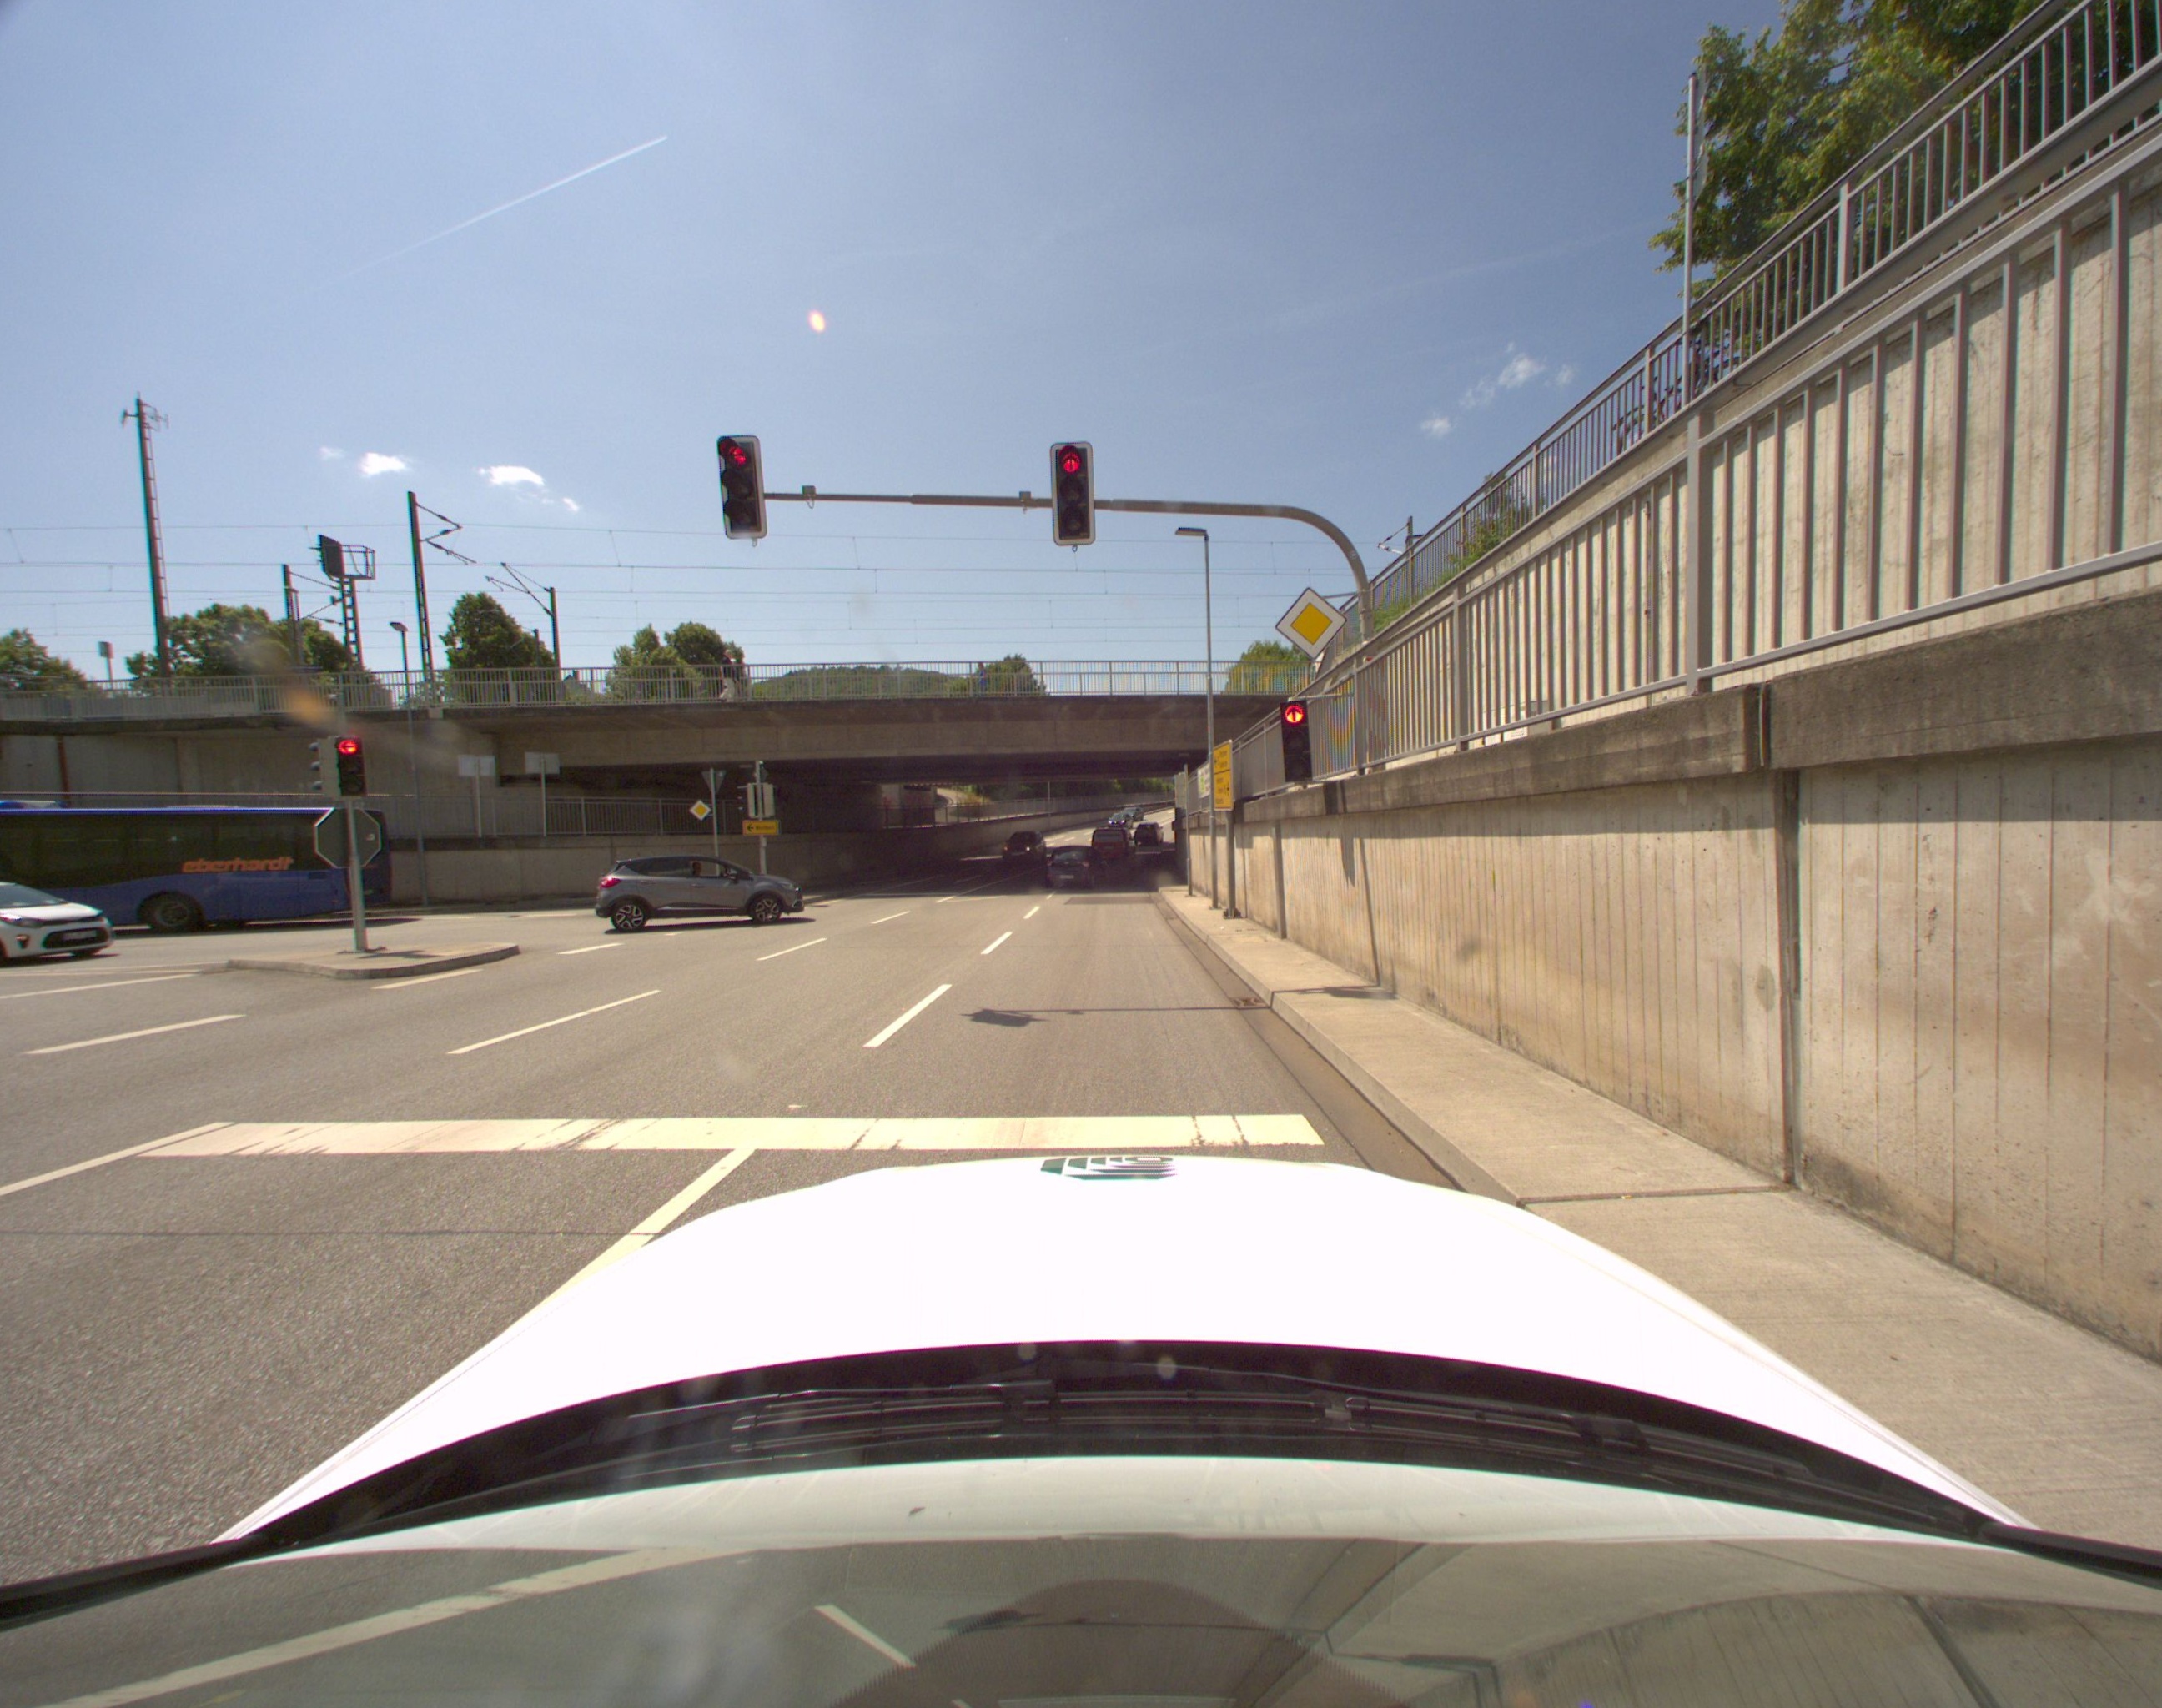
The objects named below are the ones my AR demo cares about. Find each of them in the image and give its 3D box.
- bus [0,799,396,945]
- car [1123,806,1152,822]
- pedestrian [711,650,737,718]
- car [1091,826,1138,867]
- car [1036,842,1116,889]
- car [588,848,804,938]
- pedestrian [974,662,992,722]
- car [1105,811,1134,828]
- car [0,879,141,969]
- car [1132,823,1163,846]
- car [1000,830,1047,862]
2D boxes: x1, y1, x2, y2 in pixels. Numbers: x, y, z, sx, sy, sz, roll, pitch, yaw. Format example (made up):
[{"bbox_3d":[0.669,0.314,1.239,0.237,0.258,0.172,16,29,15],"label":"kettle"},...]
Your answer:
[{"bbox_3d":[-24.553,0.401,19.340,12.376,3.172,2.573,-2,2,-20],"label":"bus"},{"bbox_3d":[5.963,-4.223,85.087,1.977,1.588,4.021,-1,2,20],"label":"car"},{"bbox_3d":[-11.591,-5.516,26.467,0.576,2.081,0.533,-2,0,-9],"label":"pedestrian"},{"bbox_3d":[1.830,-0.448,42.871,1.861,1.932,4.733,-1,2,10],"label":"car"},{"bbox_3d":[-0.087,0.365,29.519,1.980,1.508,4.015,-1,2,13],"label":"car"},{"bbox_3d":[-8.298,0.756,17.833,4.006,1.588,1.984,-2,2,-25],"label":"car"},{"bbox_3d":[-3.565,-5.884,29.683,0.538,2.081,0.534,-2,0,-5],"label":"pedestrian"},{"bbox_3d":[3.594,-3.189,75.239,1.768,1.436,4.018,-1,2,16],"label":"car"},{"bbox_3d":[-20.072,1.274,14.662,3.979,1.420,1.729,-2,2,-4],"label":"car"},{"bbox_3d":[4.873,-1.437,59.025,1.793,1.617,4.012,-1,2,10],"label":"car"},{"bbox_3d":[-3.150,-0.466,45.272,1.984,1.627,4.006,-1,2,4],"label":"car"}]
